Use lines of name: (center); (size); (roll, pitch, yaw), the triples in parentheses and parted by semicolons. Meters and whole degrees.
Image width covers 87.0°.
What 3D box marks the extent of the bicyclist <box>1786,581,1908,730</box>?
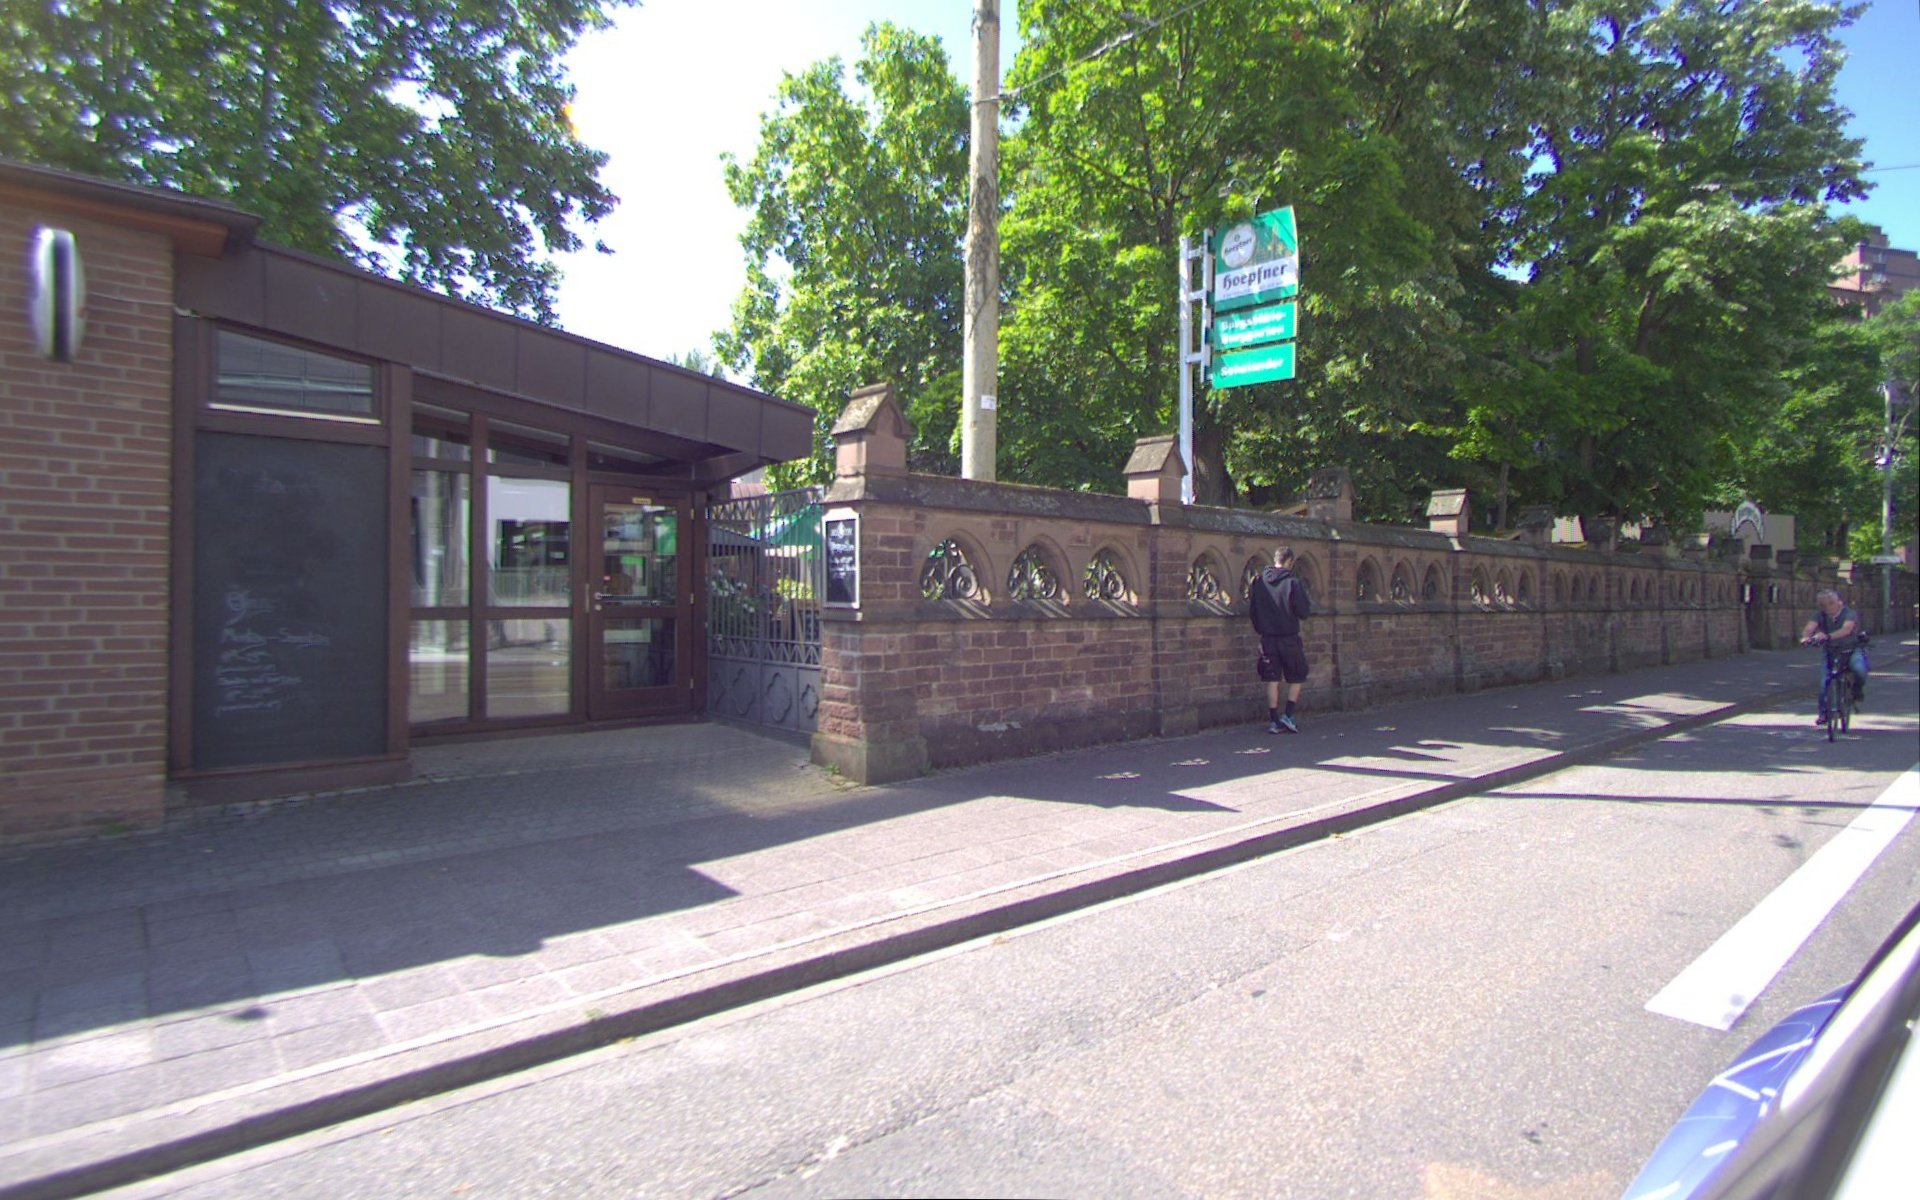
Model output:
bicyclist: (10.184, 0.608, 11.617); (0.948, 1.616, 0.905); (1, -2, -41)

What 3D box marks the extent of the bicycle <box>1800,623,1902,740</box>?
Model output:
bicycle: (10.344, 0.897, 11.721); (2.087, 1.212, 0.610); (0, -3, -42)

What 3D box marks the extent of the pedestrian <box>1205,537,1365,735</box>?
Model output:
pedestrian: (3.300, 0.323, 10.286); (1.164, 1.837, 0.979); (1, 3, -40)
